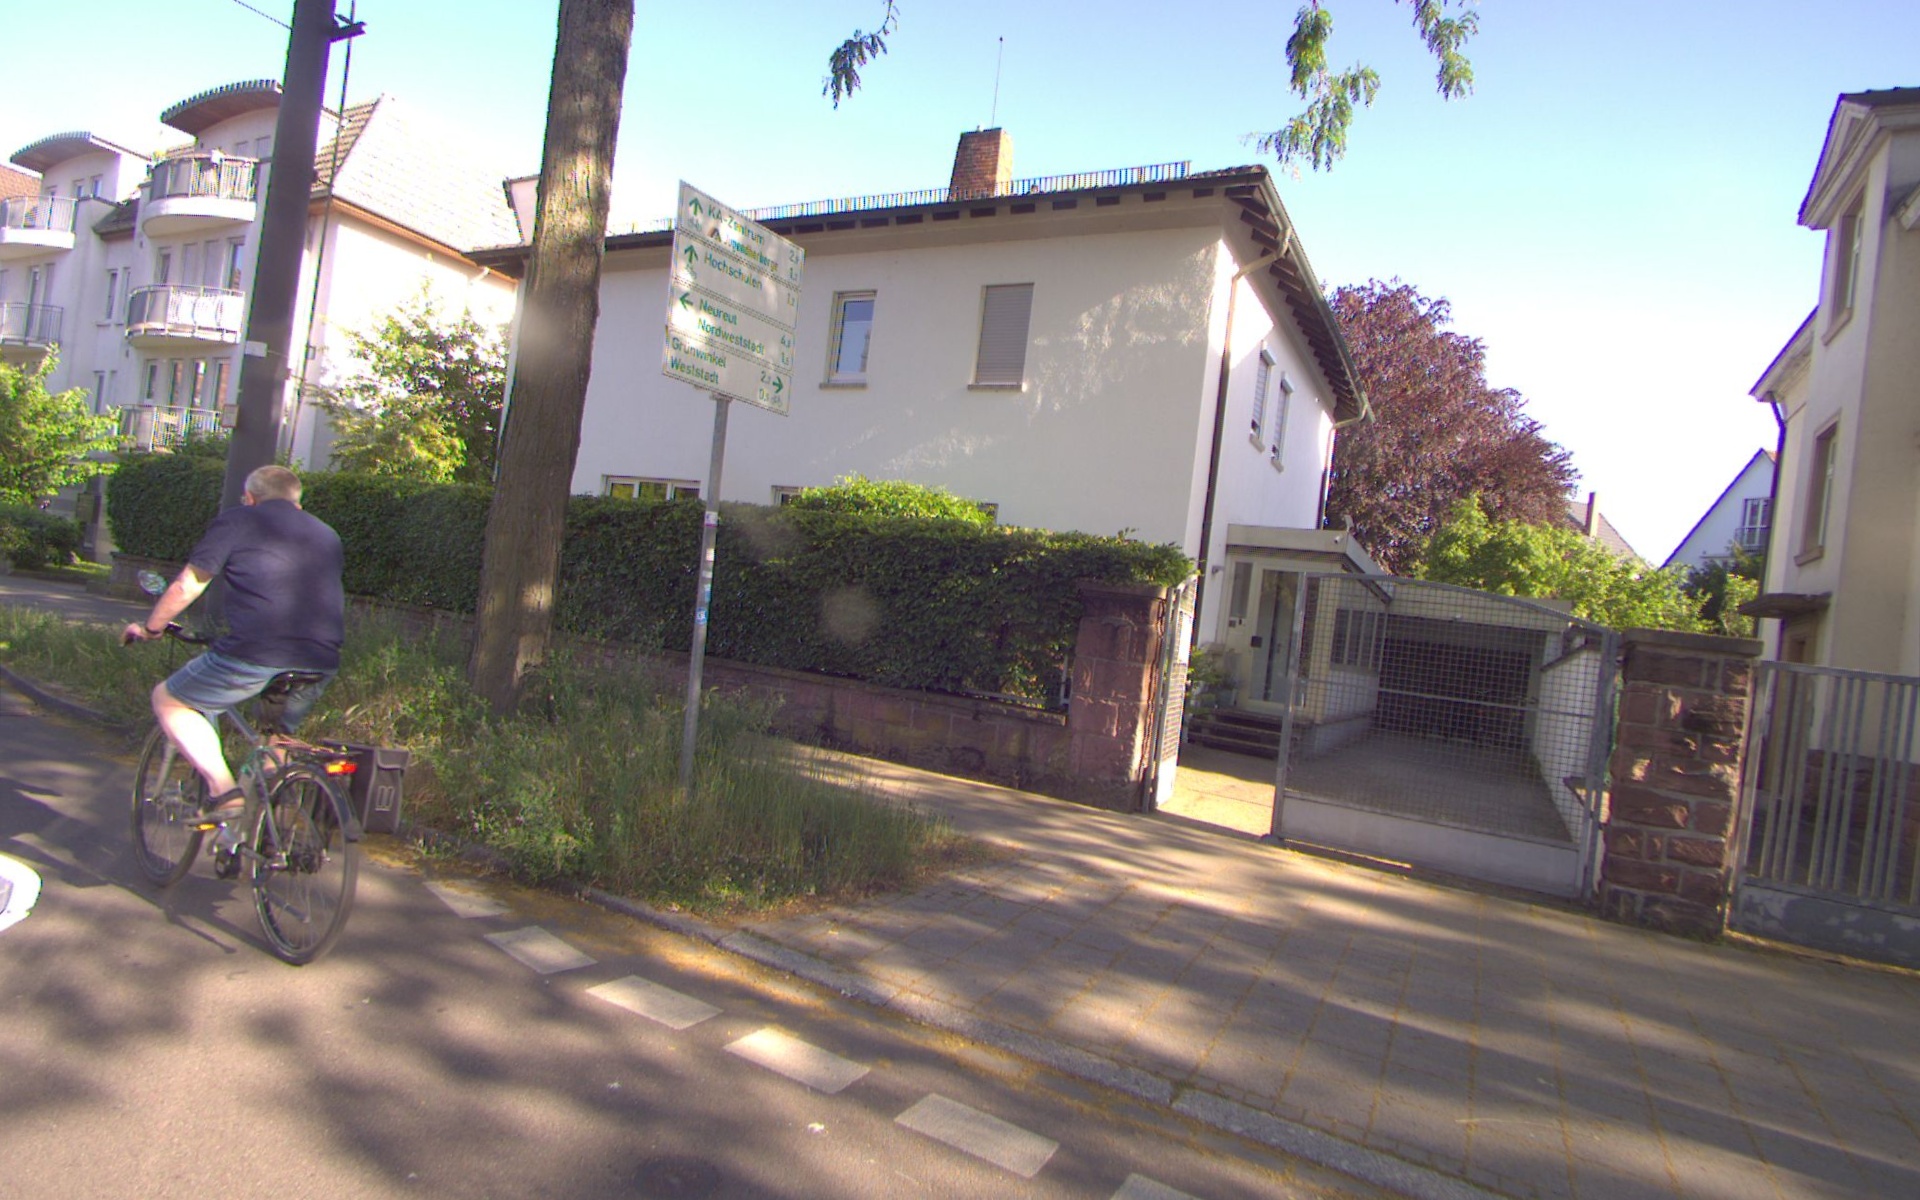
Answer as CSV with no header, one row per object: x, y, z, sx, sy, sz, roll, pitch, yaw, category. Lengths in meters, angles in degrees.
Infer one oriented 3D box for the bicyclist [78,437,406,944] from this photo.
-2.735,0.299,3.846,0.766,1.707,0.617,7,0,32,bicyclist

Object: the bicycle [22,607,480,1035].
-2.760,0.703,3.837,1.941,1.110,0.625,7,-1,32,bicycle
